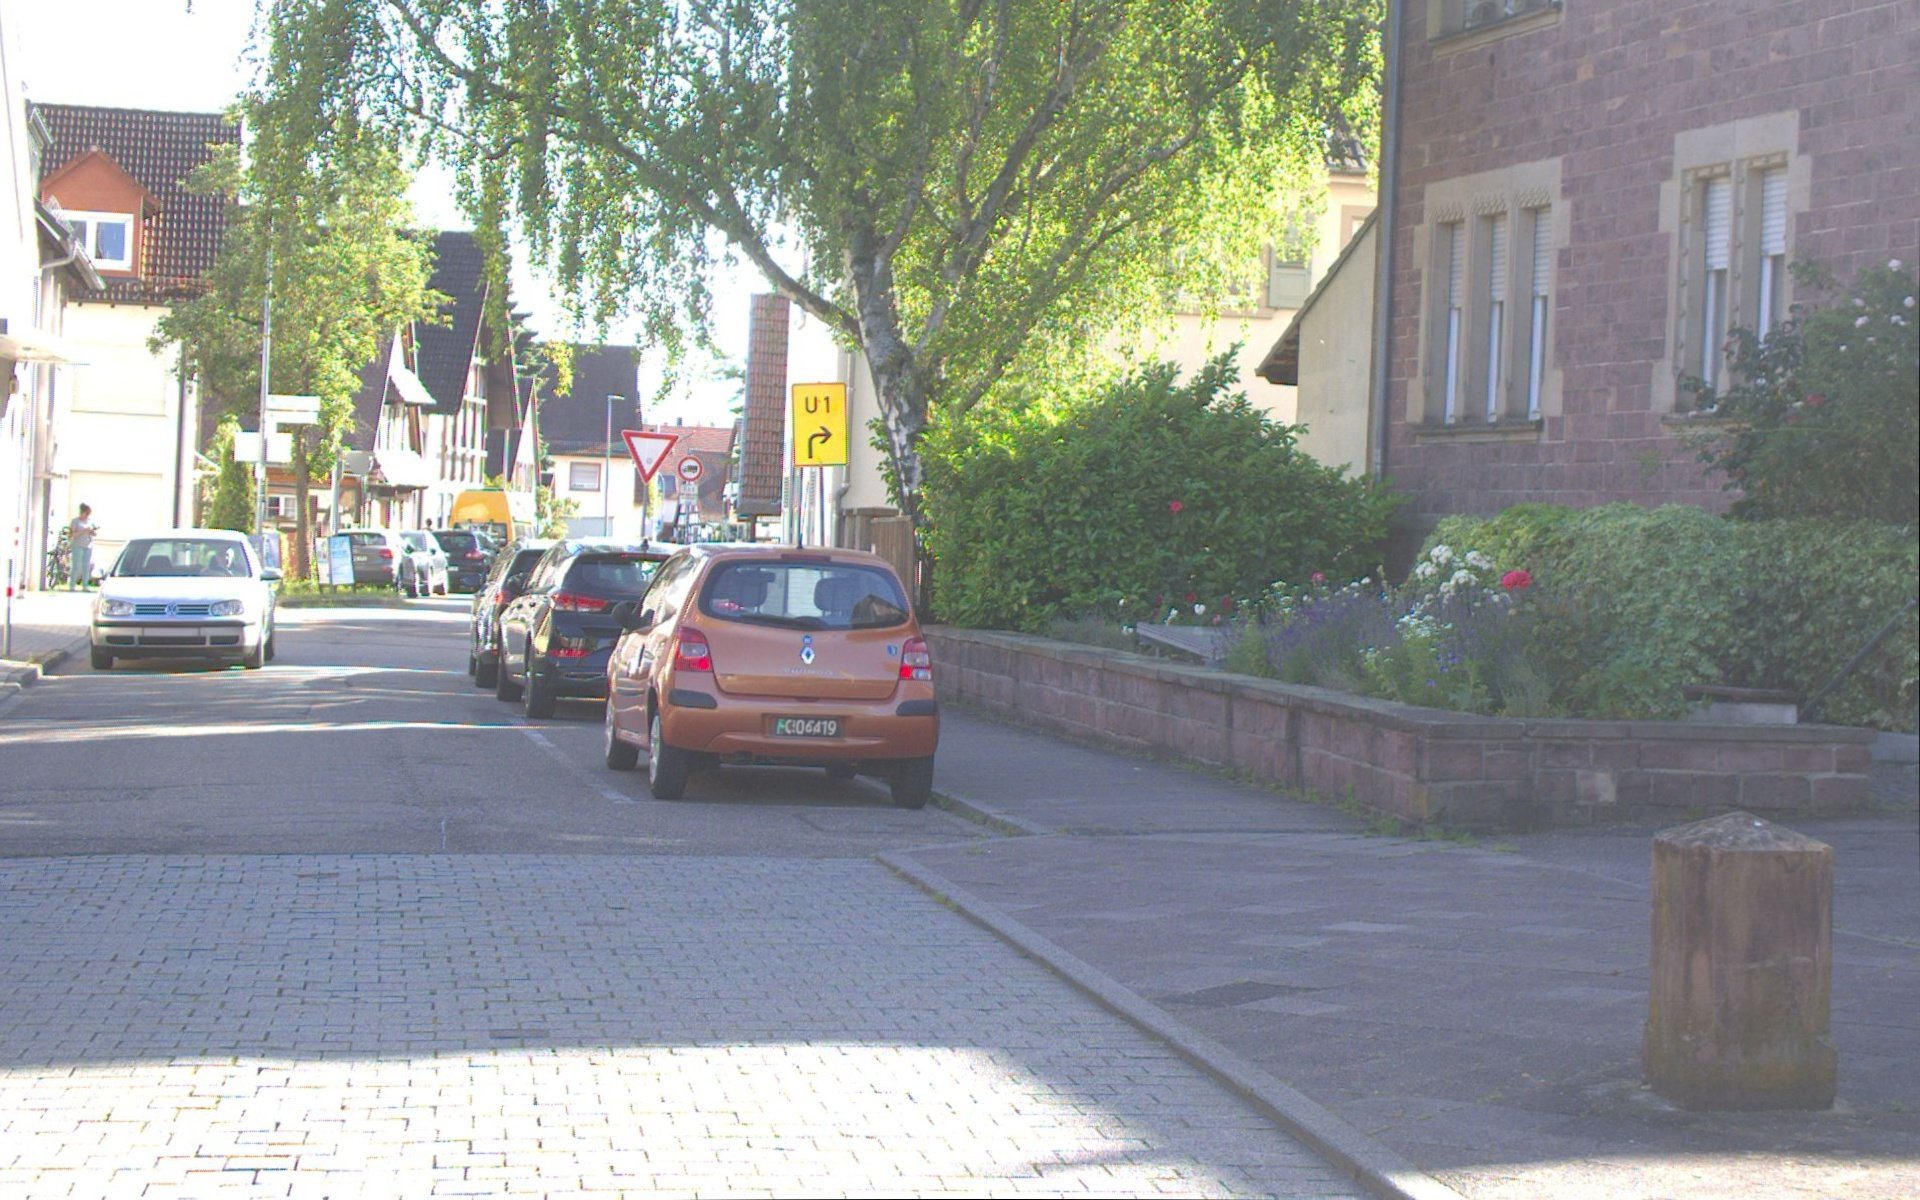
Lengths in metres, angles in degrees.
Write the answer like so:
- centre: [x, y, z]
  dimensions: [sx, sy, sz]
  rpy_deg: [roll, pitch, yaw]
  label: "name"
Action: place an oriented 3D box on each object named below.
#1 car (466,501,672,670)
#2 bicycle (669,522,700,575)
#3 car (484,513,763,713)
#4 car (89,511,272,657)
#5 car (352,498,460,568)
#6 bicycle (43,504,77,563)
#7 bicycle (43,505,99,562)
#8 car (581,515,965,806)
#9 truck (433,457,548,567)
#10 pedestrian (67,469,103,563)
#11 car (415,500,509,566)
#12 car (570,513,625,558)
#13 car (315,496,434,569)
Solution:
- centre: [-3.905, -0.188, 33.764]
  dimensions: [1.807, 1.431, 4.287]
  rpy_deg: [3, 2, -8]
  label: "car"
- centre: [-6.246, -1.167, 78.061]
  dimensions: [0.433, 1.172, 1.829]
  rpy_deg: [2, 1, 2]
  label: "bicycle"
- centre: [-2.931, 0.056, 29.136]
  dimensions: [1.807, 1.431, 4.287]
  rpy_deg: [3, 2, -12]
  label: "car"
- centre: [-8.137, -0.205, 36.138]
  dimensions: [1.670, 1.398, 3.893]
  rpy_deg: [1, 2, -10]
  label: "car"
- centre: [-12.927, -1.552, 80.425]
  dimensions: [1.806, 1.500, 4.108]
  rpy_deg: [3, 1, 0]
  label: "car"
- centre: [-16.598, -1.215, 63.409]
  dimensions: [0.423, 1.049, 1.381]
  rpy_deg: [2, 0, -8]
  label: "bicycle"
- centre: [-17.263, -1.279, 66.765]
  dimensions: [0.578, 1.049, 2.036]
  rpy_deg: [2, 0, -2]
  label: "bicycle"
- centre: [-1.232, 0.294, 20.849]
  dimensions: [1.647, 1.473, 3.935]
  rpy_deg: [3, 2, -12]
  label: "car"
- centre: [-12.903, -2.389, 94.825]
  dimensions: [2.268, 2.858, 5.783]
  rpy_deg: [3, 1, 0]
  label: "truck"
- centre: [-16.193, -1.548, 63.625]
  dimensions: [0.483, 1.687, 0.557]
  rpy_deg: [3, -1, -5]
  label: "pedestrian"
- centre: [-12.926, -1.724, 89.359]
  dimensions: [1.806, 1.616, 3.881]
  rpy_deg: [3, 1, 0]
  label: "car"
- centre: [-12.349, -2.196, 117.242]
  dimensions: [1.588, 1.438, 3.615]
  rpy_deg: [3, 1, -3]
  label: "car"
- centre: [-12.918, -1.471, 76.033]
  dimensions: [1.867, 1.500, 4.108]
  rpy_deg: [2, 1, 0]
  label: "car"
